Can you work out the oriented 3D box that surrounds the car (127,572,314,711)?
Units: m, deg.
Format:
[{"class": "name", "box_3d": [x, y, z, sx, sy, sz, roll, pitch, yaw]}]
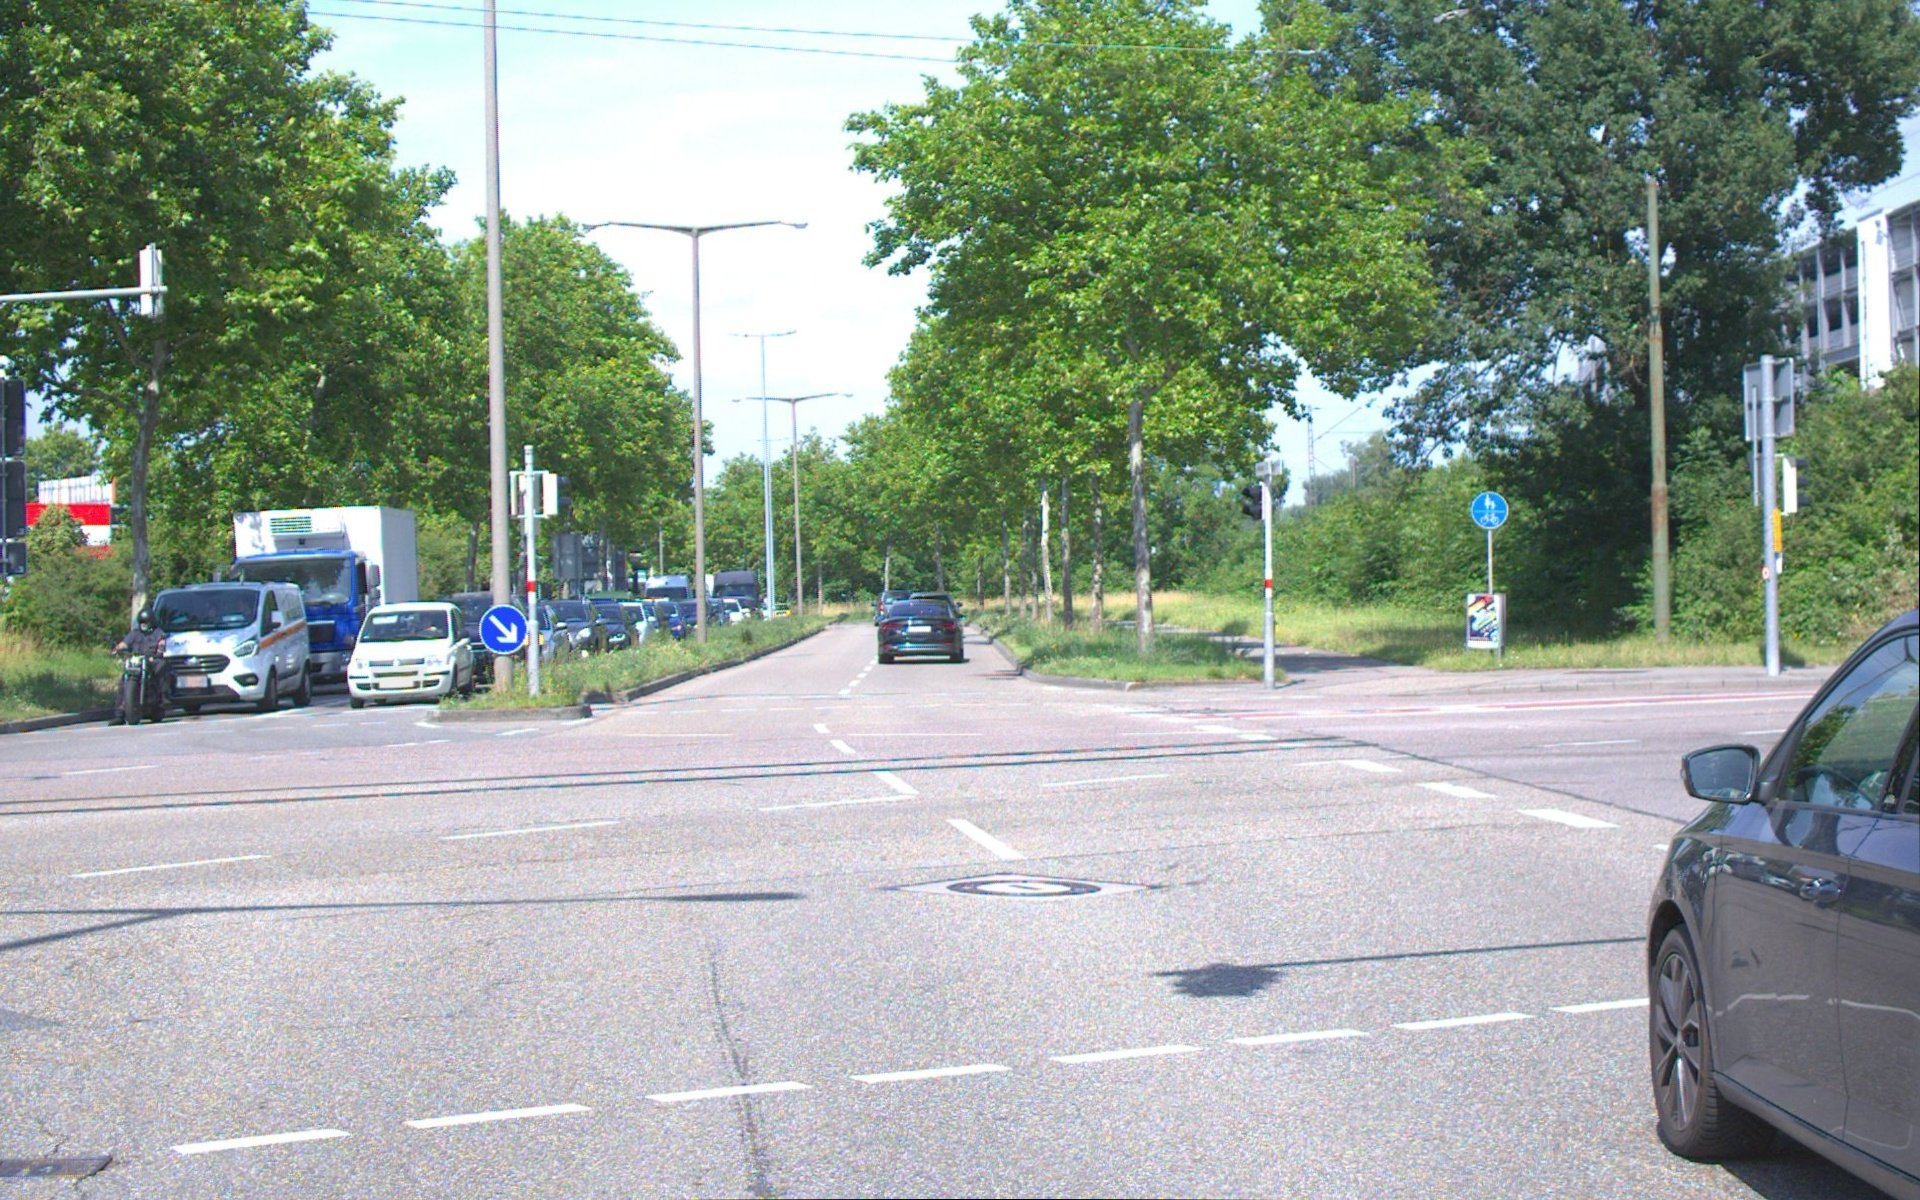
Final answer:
[{"class": "car", "box_3d": [-11.207, 0.580, 52.440, 1.976, 1.992, 5.032, -1, 0, -3]}]

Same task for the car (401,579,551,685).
[{"class": "car", "box_3d": [-8.044, 0.540, 57.492, 1.820, 1.641, 4.694, -2, -1, 0]}]

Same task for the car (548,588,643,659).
[{"class": "car", "box_3d": [-8.277, 0.510, 78.305, 1.689, 1.468, 4.218, -3, 0, 0]}]

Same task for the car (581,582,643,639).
[{"class": "car", "box_3d": [-11.932, 0.354, 117.947, 1.689, 1.852, 4.036, -2, 0, 0]}]

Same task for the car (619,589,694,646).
[{"class": "car", "box_3d": [-8.509, 0.469, 96.638, 1.784, 1.484, 4.211, -2, 0, -2]}]

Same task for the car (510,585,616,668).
[{"class": "car", "box_3d": [-8.155, 0.521, 70.964, 1.689, 1.581, 4.240, -2, 0, 0]}]

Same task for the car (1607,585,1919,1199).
[{"class": "car", "box_3d": [2.614, 0.709, 7.157, 1.674, 1.448, 4.036, 1, 0, -1]}]

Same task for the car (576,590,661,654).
[{"class": "car", "box_3d": [-8.310, 0.516, 83.942, 1.689, 1.467, 3.815, -2, 0, 0]}]

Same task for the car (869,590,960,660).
[{"class": "car", "box_3d": [-1.032, 0.532, 75.991, 1.908, 1.458, 4.622, -1, 0, -2]}]

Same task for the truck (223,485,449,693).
[{"class": "truck", "box_3d": [-11.257, -0.226, 62.644, 2.804, 3.459, 6.692, -3, 1, -1]}]

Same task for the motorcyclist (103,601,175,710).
[{"class": "motorcyclist", "box_3d": [-11.294, 0.759, 47.324, 0.743, 1.465, 0.987, -1, 0, 0]}]

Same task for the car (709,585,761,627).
[{"class": "car", "box_3d": [-8.544, 0.230, 130.785, 1.689, 1.505, 3.815, -2, 0, 0]}]

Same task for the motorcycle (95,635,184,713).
[{"class": "motorcycle", "box_3d": [-11.258, 1.003, 47.231, 0.688, 0.988, 2.217, -1, 0, -1]}]

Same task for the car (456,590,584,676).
[{"class": "car", "box_3d": [-8.202, 0.590, 64.399, 1.796, 1.463, 4.523, -2, 0, 0]}]

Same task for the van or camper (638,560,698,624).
[{"class": "van or camper", "box_3d": [-12.297, -0.359, 145.103, 2.015, 2.579, 5.517, -2, 0, 0]}]

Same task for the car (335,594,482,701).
[{"class": "car", "box_3d": [-8.240, 0.689, 51.641, 1.593, 1.472, 3.729, -2, 0, 0]}]
